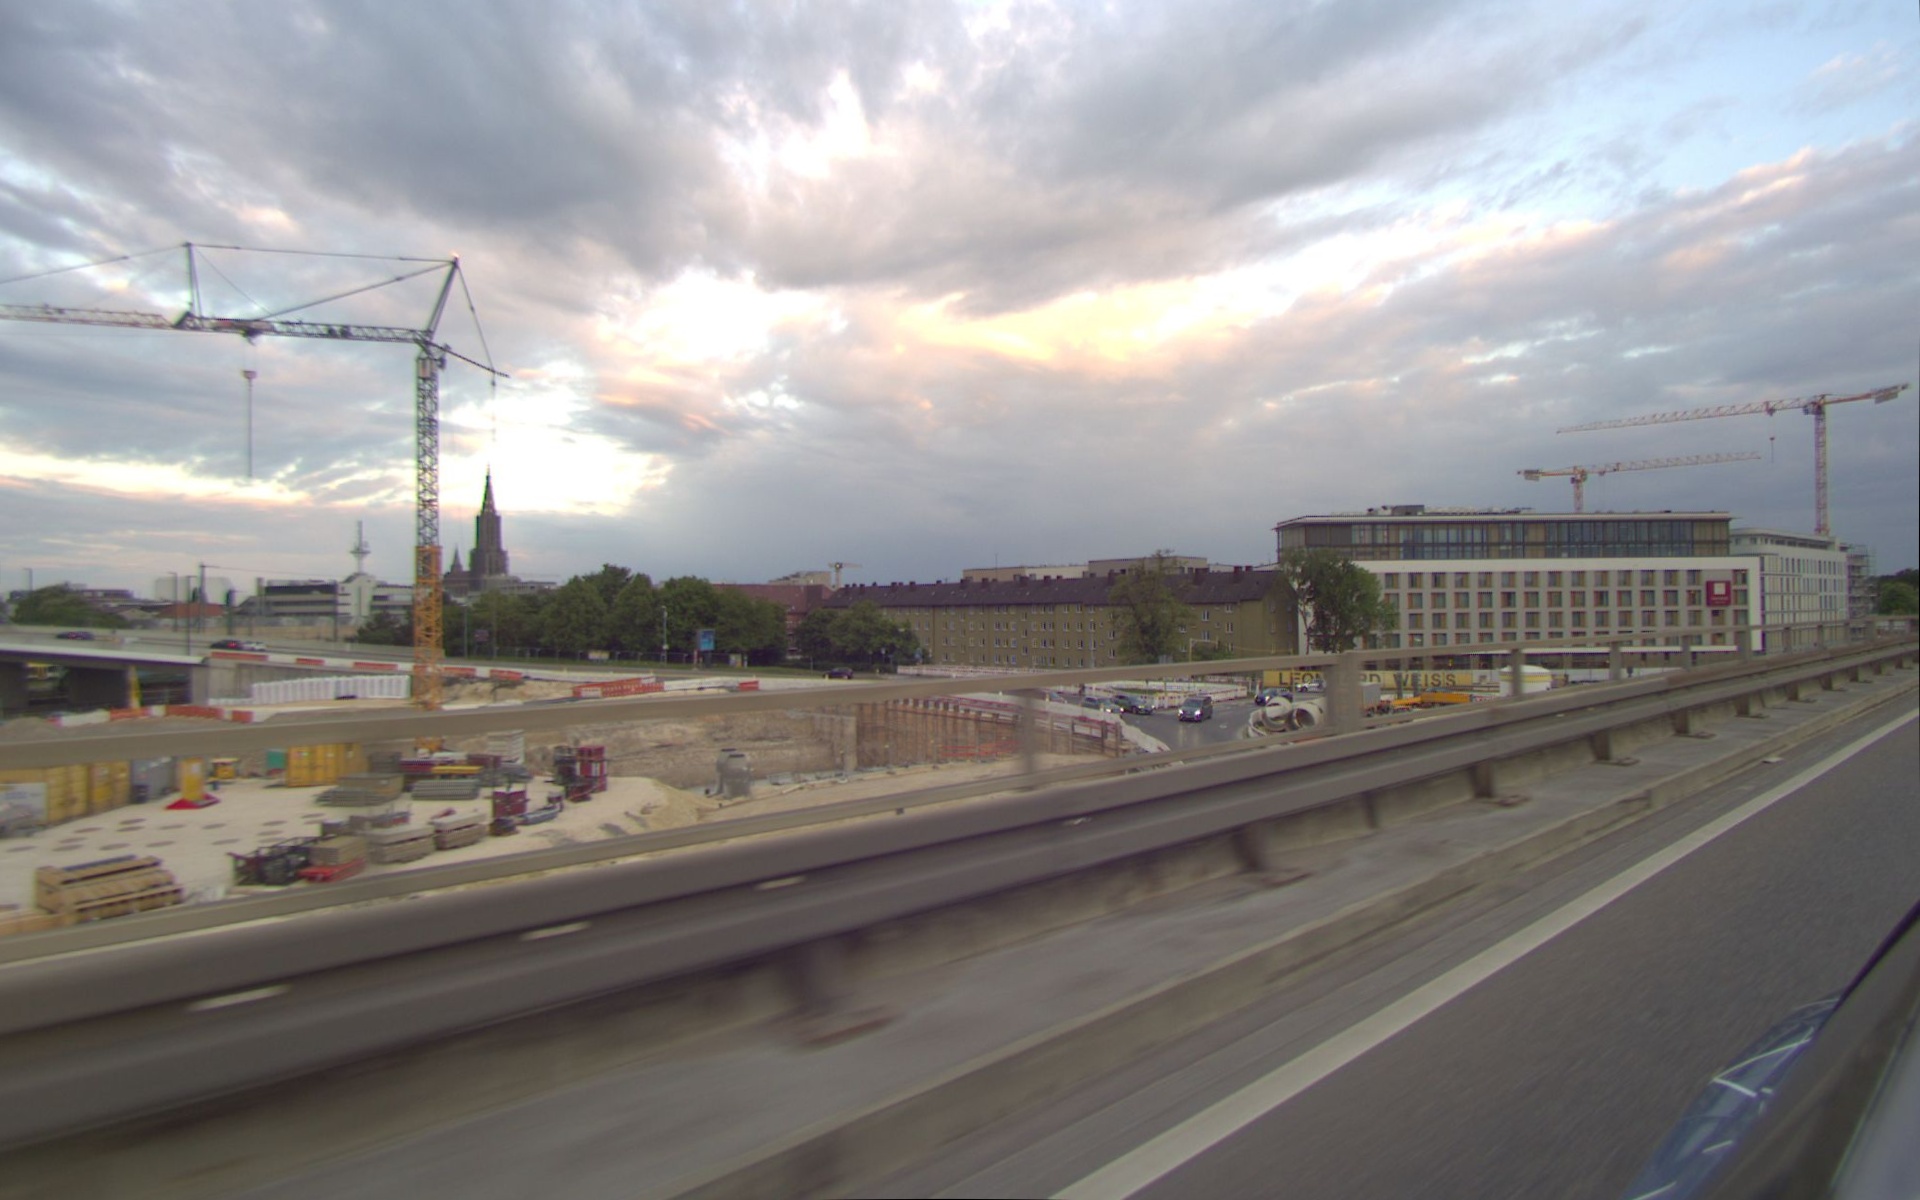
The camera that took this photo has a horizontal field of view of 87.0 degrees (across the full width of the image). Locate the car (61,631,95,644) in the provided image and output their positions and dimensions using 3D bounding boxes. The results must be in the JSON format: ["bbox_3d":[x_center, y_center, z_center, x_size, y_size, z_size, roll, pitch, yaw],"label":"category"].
[{"bbox_3d":[-132.080,5.587,151.500,3.939,1.762,1.769,1,-4,13],"label":"car"}]

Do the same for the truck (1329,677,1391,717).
[{"bbox_3d":[34.400,8.267,86.967,2.157,2.987,7.217,-4,-4,45],"label":"truck"}]

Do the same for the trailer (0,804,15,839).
[{"bbox_3d":[-40.085,8.880,39.610,4.163,1.257,1.787,-1,-2,-14],"label":"trailer"}]

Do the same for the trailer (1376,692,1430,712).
[{"bbox_3d":[40.171,9.234,91.760,5.768,1.366,1.996,1,-7,-40],"label":"trailer"}]

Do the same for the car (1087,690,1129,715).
[{"bbox_3d":[12.412,8.597,85.043,1.611,1.761,3.799,-1,-1,-26],"label":"car"}]

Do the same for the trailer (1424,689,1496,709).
[{"bbox_3d":[45.953,9.109,93.048,5.827,1.365,2.004,0,0,32],"label":"trailer"}]

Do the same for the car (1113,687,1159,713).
[{"bbox_3d":[15.406,8.736,88.872,1.768,1.741,4.106,-3,1,-29],"label":"car"}]

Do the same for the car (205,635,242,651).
[{"bbox_3d":[-102.734,5.994,141.154,3.939,2.040,1.991,1,-4,13],"label":"car"}]

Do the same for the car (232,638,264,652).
[{"bbox_3d":[-101.019,6.373,143.686,3.649,1.762,1.588,1,-4,13],"label":"car"}]

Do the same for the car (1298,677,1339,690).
[{"bbox_3d":[39.709,9.223,112.145,3.937,1.461,1.905,-1,-5,12],"label":"car"}]

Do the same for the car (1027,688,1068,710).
[{"bbox_3d":[7.955,8.973,91.874,1.619,1.639,3.764,0,-1,-37],"label":"car"}]
